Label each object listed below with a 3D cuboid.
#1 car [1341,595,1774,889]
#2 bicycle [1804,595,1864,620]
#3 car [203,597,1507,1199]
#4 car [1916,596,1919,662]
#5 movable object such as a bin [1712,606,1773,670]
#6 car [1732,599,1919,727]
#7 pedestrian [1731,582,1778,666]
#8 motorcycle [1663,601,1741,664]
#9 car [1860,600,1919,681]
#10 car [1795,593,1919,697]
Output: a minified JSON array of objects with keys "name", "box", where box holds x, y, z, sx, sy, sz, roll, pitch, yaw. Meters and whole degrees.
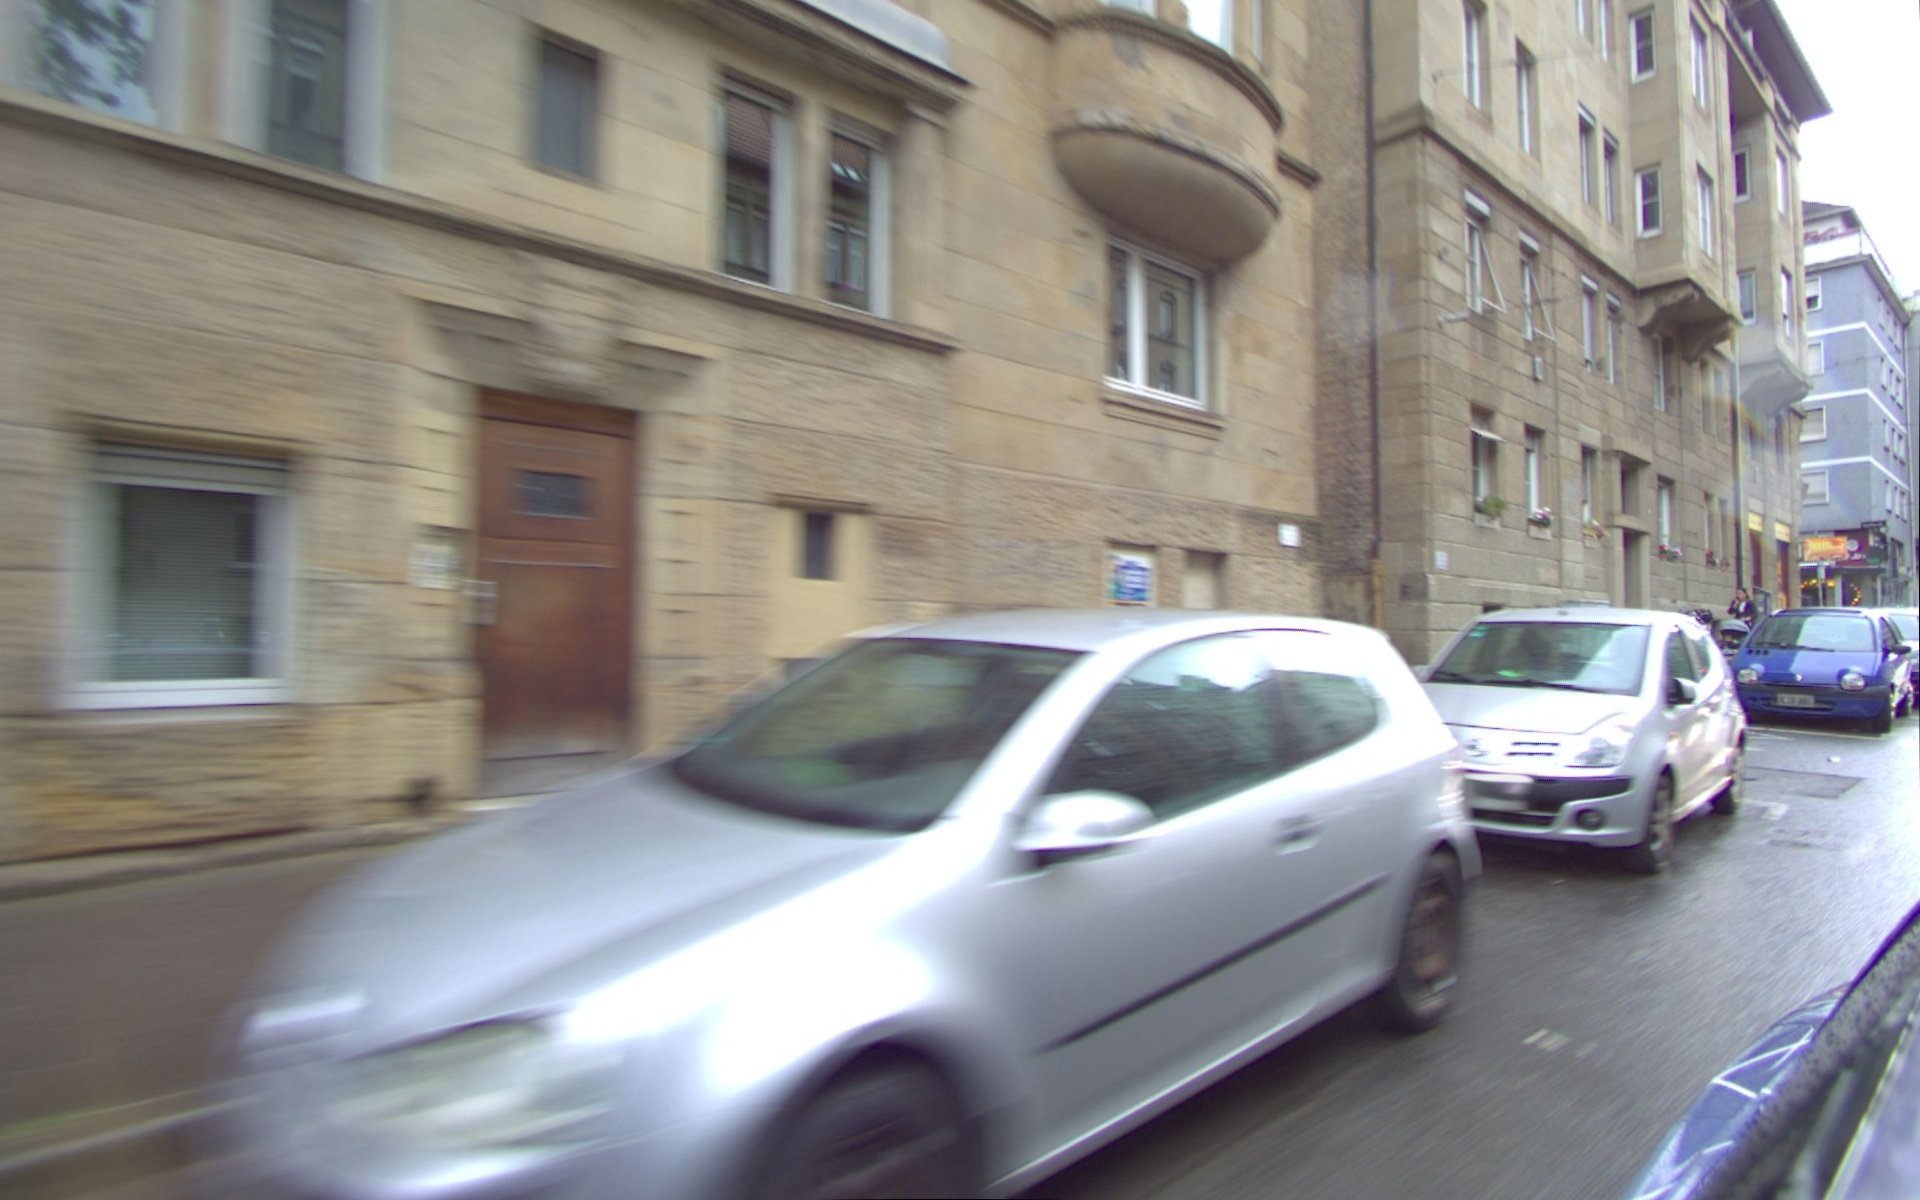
[{"name":"car","box":[4.191,0.699,6.865,3.622,1.452,1.592,0,0,-43]},{"name":"bicycle","box":[35.348,0.309,40.962,0.524,0.985,1.752,0,-1,-39]},{"name":"car","box":[0.106,0.726,3.202,3.888,1.452,1.670,0,0,-42]},{"name":"car","box":[22.564,0.639,22.471,4.411,1.404,1.756,0,1,-44]},{"name":"movable object such as a bin","box":[14.442,0.686,18.668,1.104,1.117,0.666,0,-1,-41]},{"name":"car","box":[11.337,0.711,13.097,3.387,1.433,1.545,0,0,-42]},{"name":"pedestrian","box":[15.143,0.447,19.279,0.697,1.555,0.562,0,-1,-41]},{"name":"motorcycle","box":[15.365,0.643,20.914,2.698,1.214,0.706,0,-1,-41]},{"name":"car","box":[18.515,0.719,19.230,3.950,1.416,1.709,0,0,-42]},{"name":"car","box":[14.794,0.629,16.095,4.014,1.481,1.790,0,0,-42]}]
